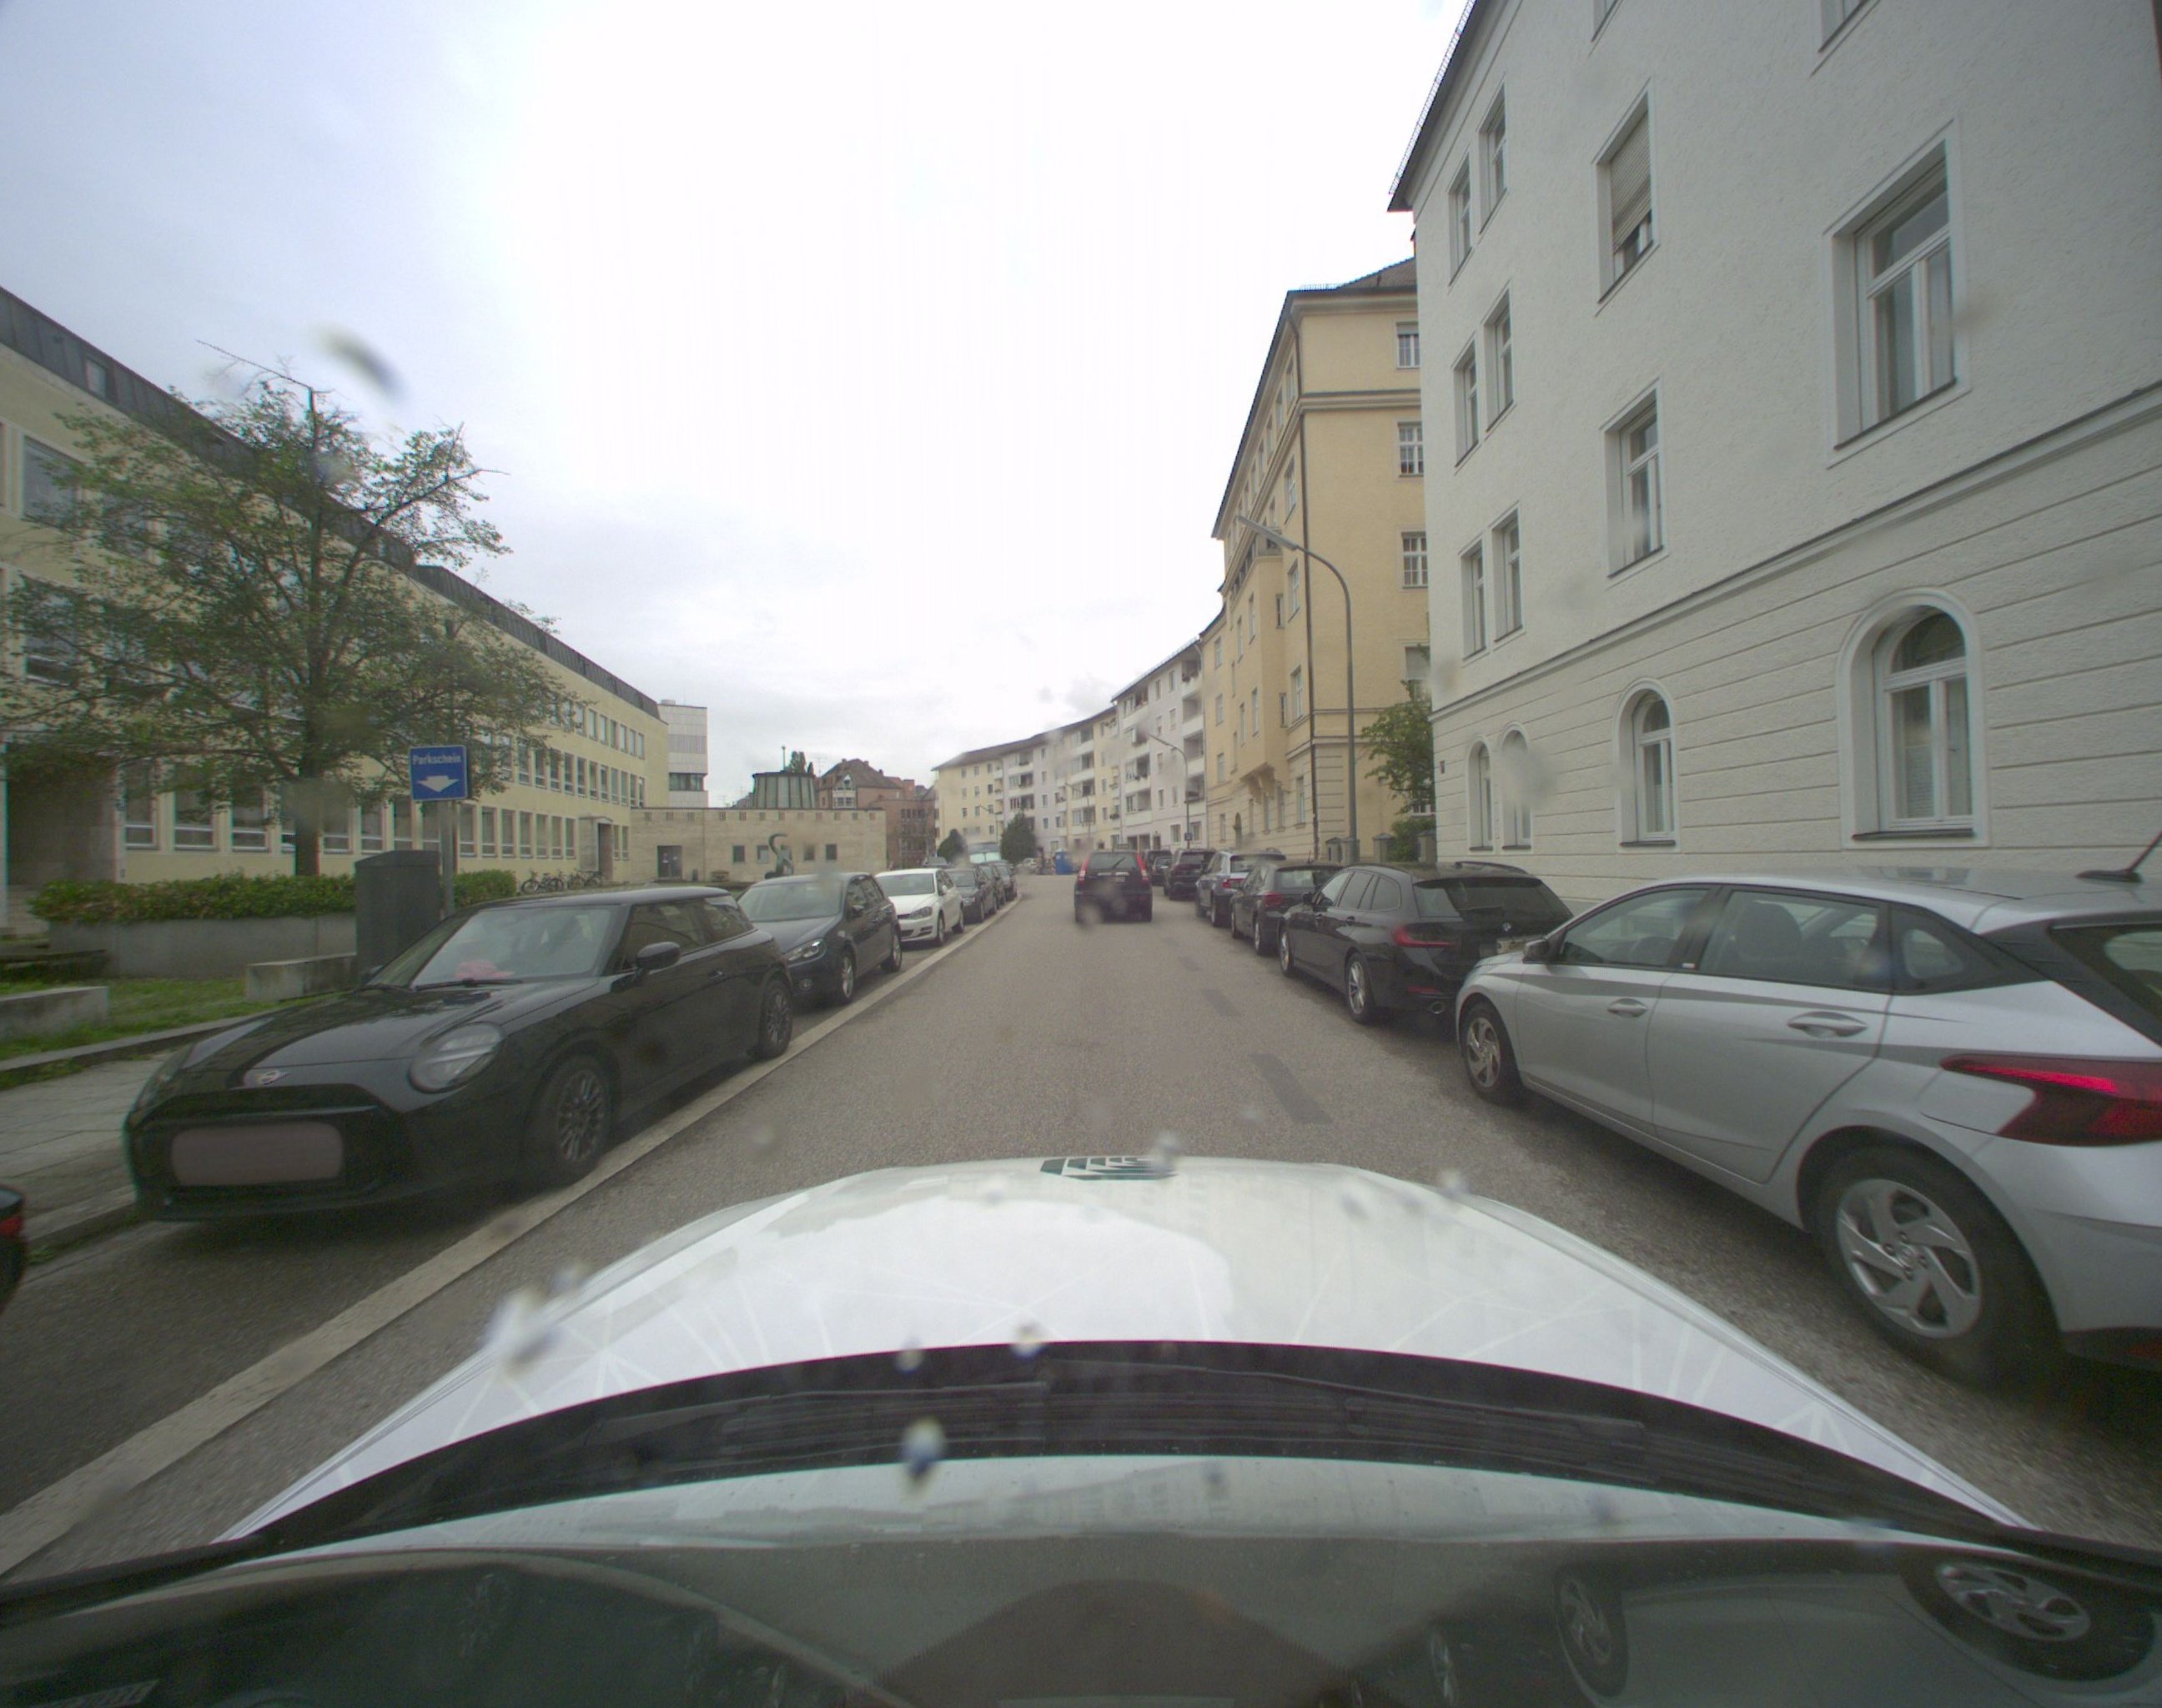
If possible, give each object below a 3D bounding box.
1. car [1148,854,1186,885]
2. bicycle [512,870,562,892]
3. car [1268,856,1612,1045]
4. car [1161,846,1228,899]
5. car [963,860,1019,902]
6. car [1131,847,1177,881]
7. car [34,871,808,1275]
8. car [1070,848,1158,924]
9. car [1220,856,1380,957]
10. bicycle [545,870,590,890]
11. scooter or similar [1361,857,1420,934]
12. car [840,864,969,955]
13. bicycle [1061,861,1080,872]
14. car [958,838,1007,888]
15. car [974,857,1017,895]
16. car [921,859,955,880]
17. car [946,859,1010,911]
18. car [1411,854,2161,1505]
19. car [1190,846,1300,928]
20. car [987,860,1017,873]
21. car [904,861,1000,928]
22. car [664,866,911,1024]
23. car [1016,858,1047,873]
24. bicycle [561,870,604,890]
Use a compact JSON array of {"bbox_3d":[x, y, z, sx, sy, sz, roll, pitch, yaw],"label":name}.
[{"bbox_3d":[4.290,0.760,40.965,1.701,1.447,3.832,0,0,3],"label":"car"},{"bbox_3d":[-27.047,1.326,40.493,1.950,1.014,0.622,-1,0,-15],"label":"bicycle"},{"bbox_3d":[3.296,0.762,8.529,1.673,1.427,4.391,-1,0,0],"label":"car"},{"bbox_3d":[3.898,0.624,28.770,1.862,1.717,4.868,0,0,2],"label":"car"},{"bbox_3d":[-3.364,0.985,31.261,1.795,1.406,4.450,-3,0,-3],"label":"car"},{"bbox_3d":[4.047,0.544,46.010,1.776,1.807,4.266,0,0,-6],"label":"car"},{"bbox_3d":[-3.308,0.923,5.214,1.674,1.453,3.870,-3,0,1],"label":"car"},{"bbox_3d":[0.707,0.723,19.993,1.886,1.647,3.988,-1,0,-2],"label":"car"},{"bbox_3d":[3.509,0.772,13.813,1.673,1.427,4.088,-1,0,1],"label":"car"},{"bbox_3d":[-27.914,1.413,44.309,1.949,1.014,0.623,-1,0,-13],"label":"bicycle"},{"bbox_3d":[4.955,0.647,13.094,0.483,1.164,1.172,-1,-1,-1],"label":"scooter or similar"},{"bbox_3d":[-3.328,0.977,16.117,1.652,1.453,4.071,-3,0,-1],"label":"car"},{"bbox_3d":[-1.103,1.296,85.565,1.872,1.091,0.562,-1,-1,-20],"label":"bicycle"},{"bbox_3d":[-5.801,0.492,47.334,2.166,2.641,5.992,-3,0,-12],"label":"car"},{"bbox_3d":[-3.677,0.929,35.477,1.667,1.502,2.973,-3,0,-4],"label":"car"},{"bbox_3d":[-12.262,1.296,69.644,1.687,1.707,4.476,-1,-1,-25],"label":"car"},{"bbox_3d":[-3.274,0.954,26.428,1.652,1.453,3.310,-3,0,-1],"label":"car"},{"bbox_3d":[3.257,0.738,3.890,1.673,1.427,4.167,-1,0,0],"label":"car"},{"bbox_3d":[3.648,0.684,18.852,1.716,1.634,4.458,-1,0,1],"label":"car"},{"bbox_3d":[-8.938,1.391,91.695,1.736,1.483,3.959,0,0,-32],"label":"car"},{"bbox_3d":[-3.249,0.982,21.365,1.749,1.453,4.395,-3,0,0],"label":"car"},{"bbox_3d":[-3.387,0.947,10.240,1.652,1.453,3.972,-3,0,-1],"label":"car"},{"bbox_3d":[-5.037,1.152,82.744,1.733,1.483,3.966,-1,0,-26],"label":"car"},{"bbox_3d":[-27.979,1.444,45.732,1.953,1.014,0.621,-1,0,-20],"label":"bicycle"}]
